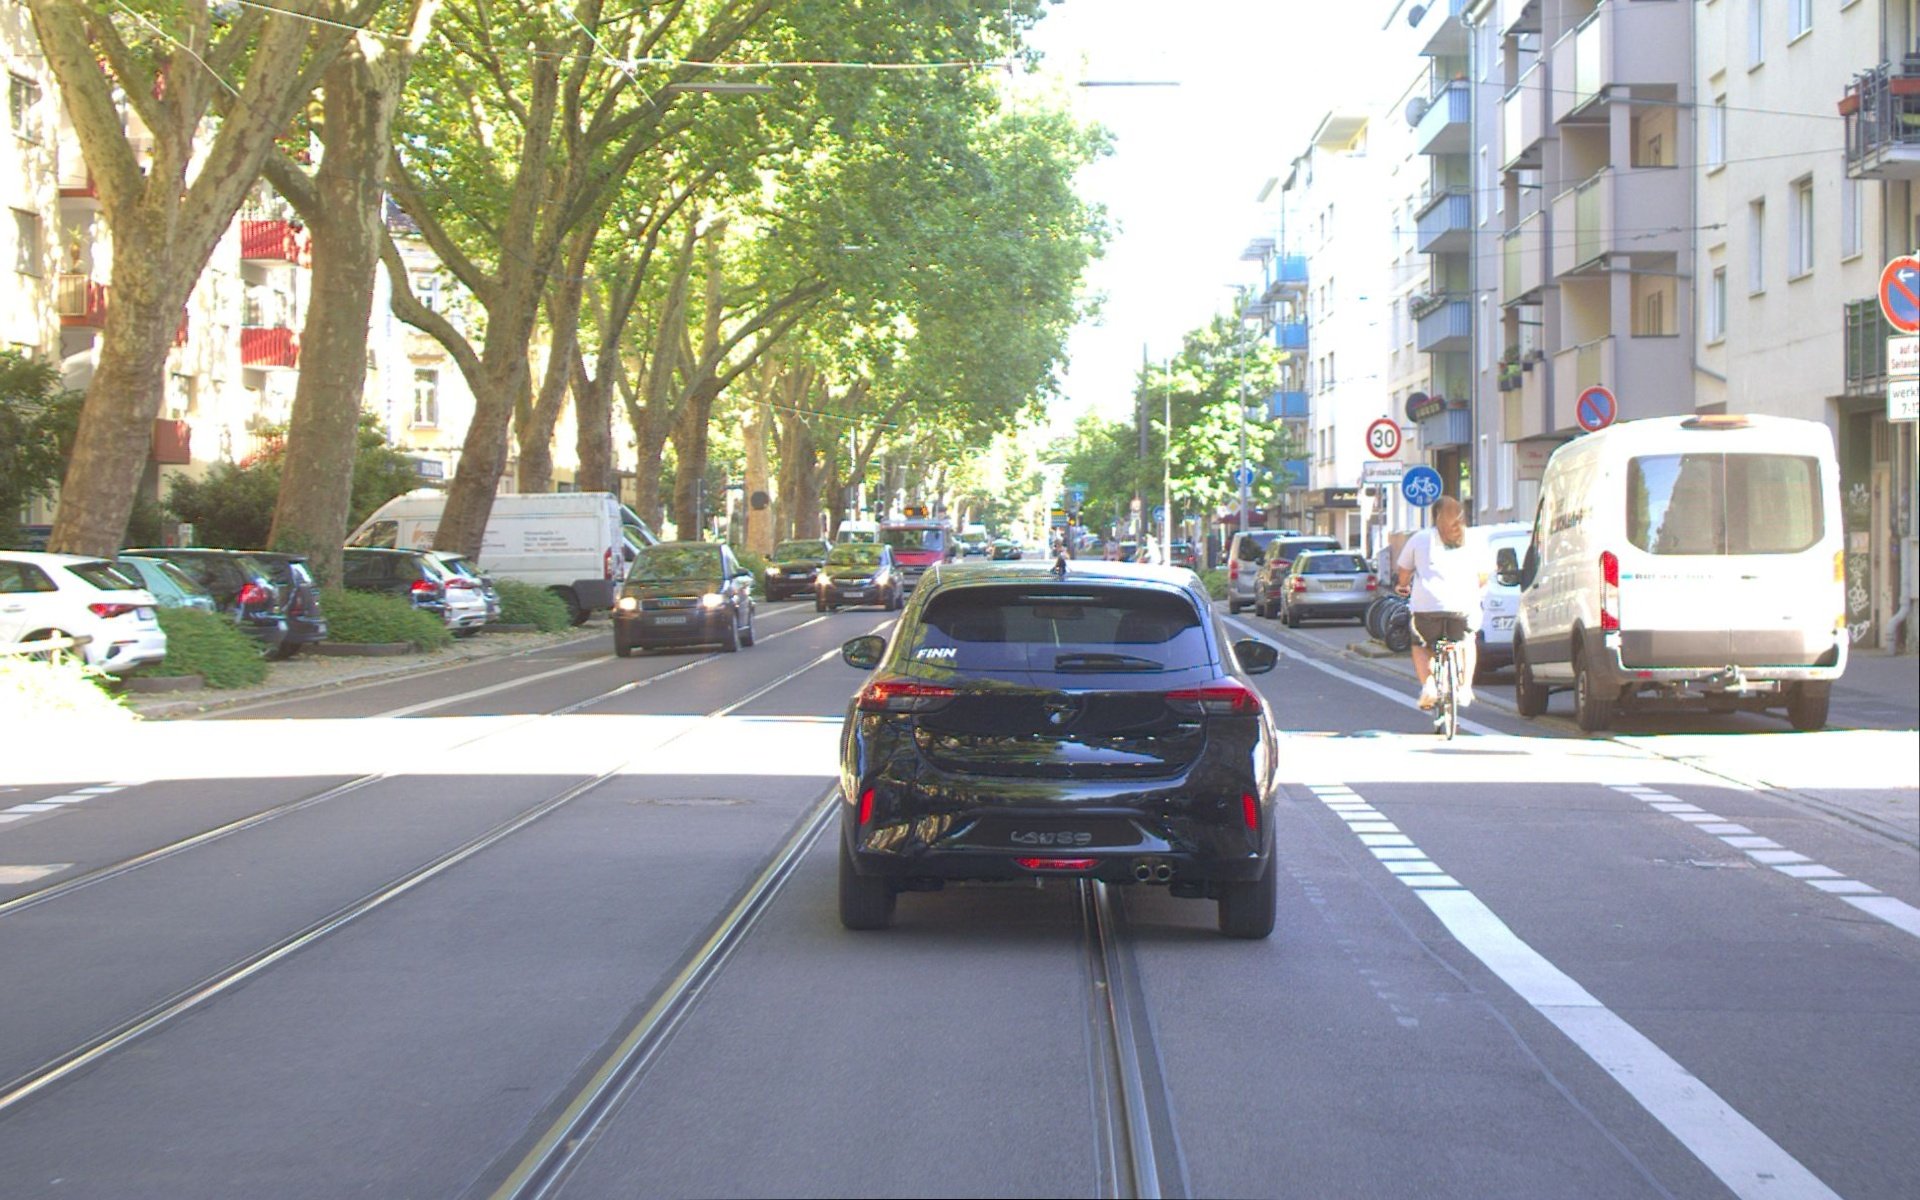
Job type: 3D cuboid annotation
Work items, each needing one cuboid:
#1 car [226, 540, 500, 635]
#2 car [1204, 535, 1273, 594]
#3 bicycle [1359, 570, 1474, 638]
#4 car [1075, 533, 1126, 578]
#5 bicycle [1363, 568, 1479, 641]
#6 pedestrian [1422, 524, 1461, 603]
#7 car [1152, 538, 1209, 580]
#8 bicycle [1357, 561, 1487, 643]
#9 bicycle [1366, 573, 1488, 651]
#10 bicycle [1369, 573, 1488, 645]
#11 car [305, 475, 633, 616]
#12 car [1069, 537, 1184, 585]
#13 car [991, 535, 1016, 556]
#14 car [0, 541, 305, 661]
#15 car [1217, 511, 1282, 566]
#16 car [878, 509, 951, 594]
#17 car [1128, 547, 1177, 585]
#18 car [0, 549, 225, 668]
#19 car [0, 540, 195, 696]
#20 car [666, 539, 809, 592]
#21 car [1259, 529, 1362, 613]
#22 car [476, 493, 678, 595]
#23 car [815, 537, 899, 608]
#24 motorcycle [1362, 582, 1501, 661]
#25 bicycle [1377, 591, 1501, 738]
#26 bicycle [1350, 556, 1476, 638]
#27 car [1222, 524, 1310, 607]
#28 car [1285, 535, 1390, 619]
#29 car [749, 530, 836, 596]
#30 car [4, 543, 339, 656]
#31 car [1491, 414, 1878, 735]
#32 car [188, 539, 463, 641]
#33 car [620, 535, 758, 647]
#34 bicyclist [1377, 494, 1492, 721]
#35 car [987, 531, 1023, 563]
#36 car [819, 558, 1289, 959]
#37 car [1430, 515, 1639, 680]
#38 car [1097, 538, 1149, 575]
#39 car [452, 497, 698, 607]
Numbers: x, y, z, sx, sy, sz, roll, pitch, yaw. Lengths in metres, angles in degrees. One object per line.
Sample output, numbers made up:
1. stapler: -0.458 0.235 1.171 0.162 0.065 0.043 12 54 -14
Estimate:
1. car: -9.434 -0.209 54.548 3.987 1.491 1.830 0 1 2
2. car: 7.871 -1.013 97.482 1.858 1.646 4.000 0 1 3
3. bicycle: 6.905 0.064 52.026 1.653 0.963 0.457 -2 1 2
4. car: 5.265 -1.665 128.477 1.858 1.646 4.000 0 1 3
5. bicycle: 6.906 0.065 51.491 1.653 1.017 0.457 -2 1 2
6. pedestrian: 10.547 -0.800 75.248 0.756 1.714 0.720 0 1 0
7. car: 8.309 -1.565 129.900 1.718 1.568 4.085 0 1 -2
8. bicycle: 6.823 0.030 50.814 1.794 1.144 0.704 -2 1 2
9. bicycle: 6.652 0.167 49.031 1.653 1.051 0.457 -2 1 2
10. bicycle: 6.814 0.123 50.023 1.653 0.983 0.457 -2 1 2
11. car: -9.100 -1.028 64.062 5.741 2.527 2.162 1 1 2
12. car: 5.783 -1.375 119.829 3.987 1.646 1.864 0 1 2
13. car: 3.062 -3.800 239.558 1.680 1.417 3.628 2 1 1
14. car: -10.338 0.000 42.771 3.987 1.455 1.770 0 1 4
15. car: 8.838 -1.893 105.040 1.858 1.646 4.000 0 1 3
16. car: -1.205 -1.315 92.364 1.917 2.219 4.960 0 1 0
17. car: 7.563 -1.352 135.518 1.718 1.485 3.682 0 1 0
18. car: -10.809 0.083 40.345 3.987 1.364 1.605 0 1 4
19. car: -9.619 0.187 33.296 3.987 1.455 1.879 0 0 1
20. car: -6.363 -0.993 98.532 3.987 1.516 1.771 0 1 1
21. car: 7.275 -0.631 71.641 1.767 1.699 4.283 0 1 1
22. car: -9.700 -1.424 87.453 4.943 2.559 2.083 0 1 -1
23. car: -2.215 -0.619 74.440 1.718 1.504 3.723 0 1 0
24. motorcycle: 6.595 0.305 48.106 1.821 1.076 0.616 -1 1 25
25. bicycle: 3.758 0.486 27.093 0.701 1.088 1.990 2 0 1
26. bicycle: 6.913 -0.051 52.507 1.823 1.187 0.457 -2 1 2
27. car: 7.121 -0.822 80.347 1.858 1.883 4.924 0 1 3
28. car: 7.089 -0.456 64.938 1.724 1.520 4.512 0 1 3
29. car: -4.522 -1.018 93.608 1.993 1.694 4.484 -2 1 1
30. car: -10.363 -0.020 45.351 3.987 1.455 1.704 0 1 4
31. car: 6.093 -0.241 29.723 2.149 2.487 6.088 0 1 1
32. car: -9.558 -0.167 51.978 3.793 1.455 1.704 1 1 2
33. car: -3.726 -0.153 47.793 1.635 1.504 3.692 0 1 0
34. bicyclist: 3.725 0.053 27.051 0.786 1.753 0.915 0 1 1
35. car: 2.374 -2.789 179.911 1.750 1.646 4.000 0 1 3
36. car: 0.375 0.557 14.393 1.680 1.417 3.628 2 1 1
37. car: 6.608 -0.063 39.940 1.858 1.814 4.351 0 1 2
38. car: 7.290 -1.954 154.327 1.993 1.634 4.001 0 1 -2
39. car: -8.765 -1.101 78.573 5.360 2.469 2.057 0 1 2
